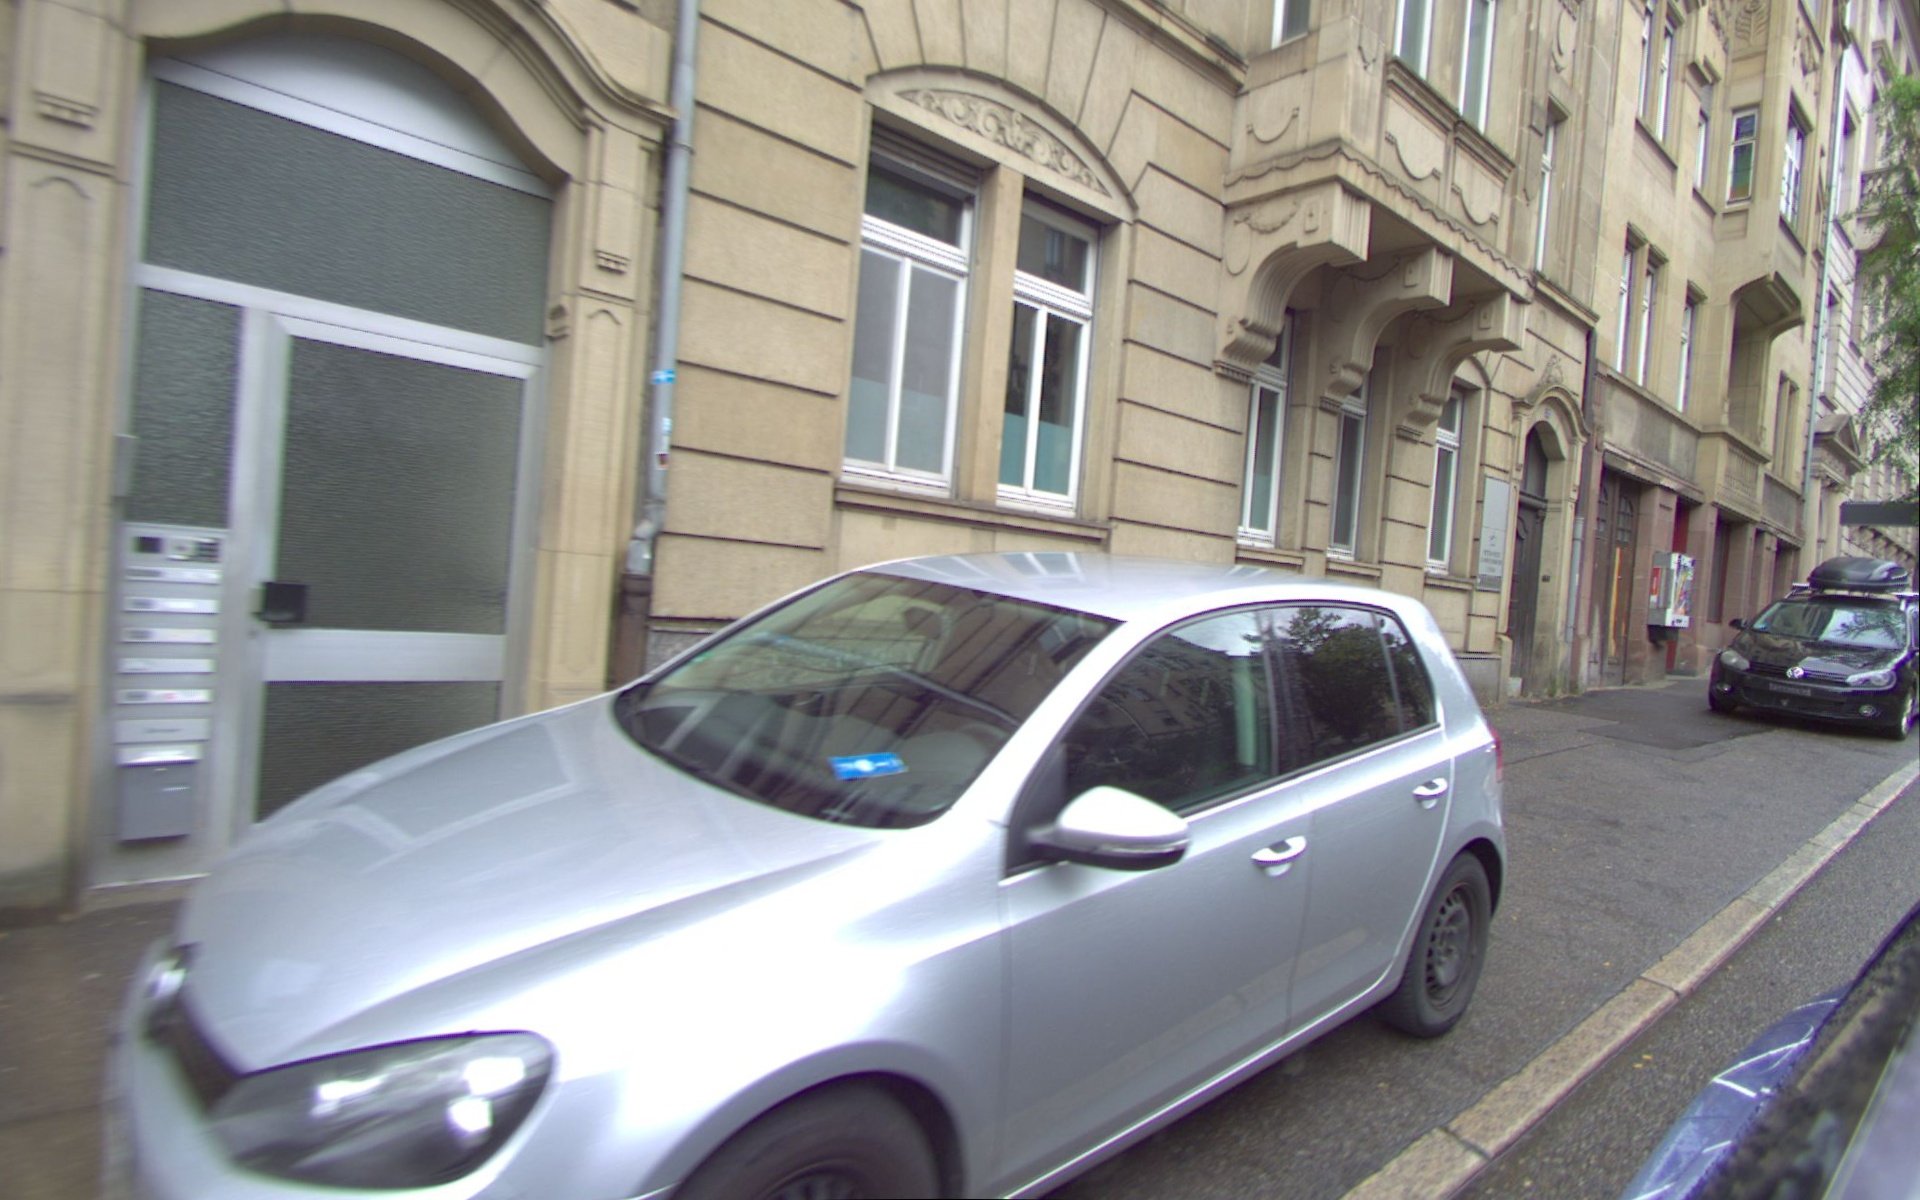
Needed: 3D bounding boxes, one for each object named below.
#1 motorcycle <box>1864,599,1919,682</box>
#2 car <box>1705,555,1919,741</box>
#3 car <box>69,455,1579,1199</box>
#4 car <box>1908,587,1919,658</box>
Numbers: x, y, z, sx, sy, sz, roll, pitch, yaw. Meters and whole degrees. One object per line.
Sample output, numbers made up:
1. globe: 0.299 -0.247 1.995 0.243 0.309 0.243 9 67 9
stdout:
1. motorcycle: 16.108 0.719 16.431 2.233 1.258 0.525 5 3 0
2. car: 10.464 0.450 11.828 4.025 1.670 1.765 0 6 -40
3. car: 0.046 0.510 2.956 3.930 1.468 1.765 0 6 -41
4. car: 22.072 0.553 21.818 3.966 1.469 1.795 0 5 -40
